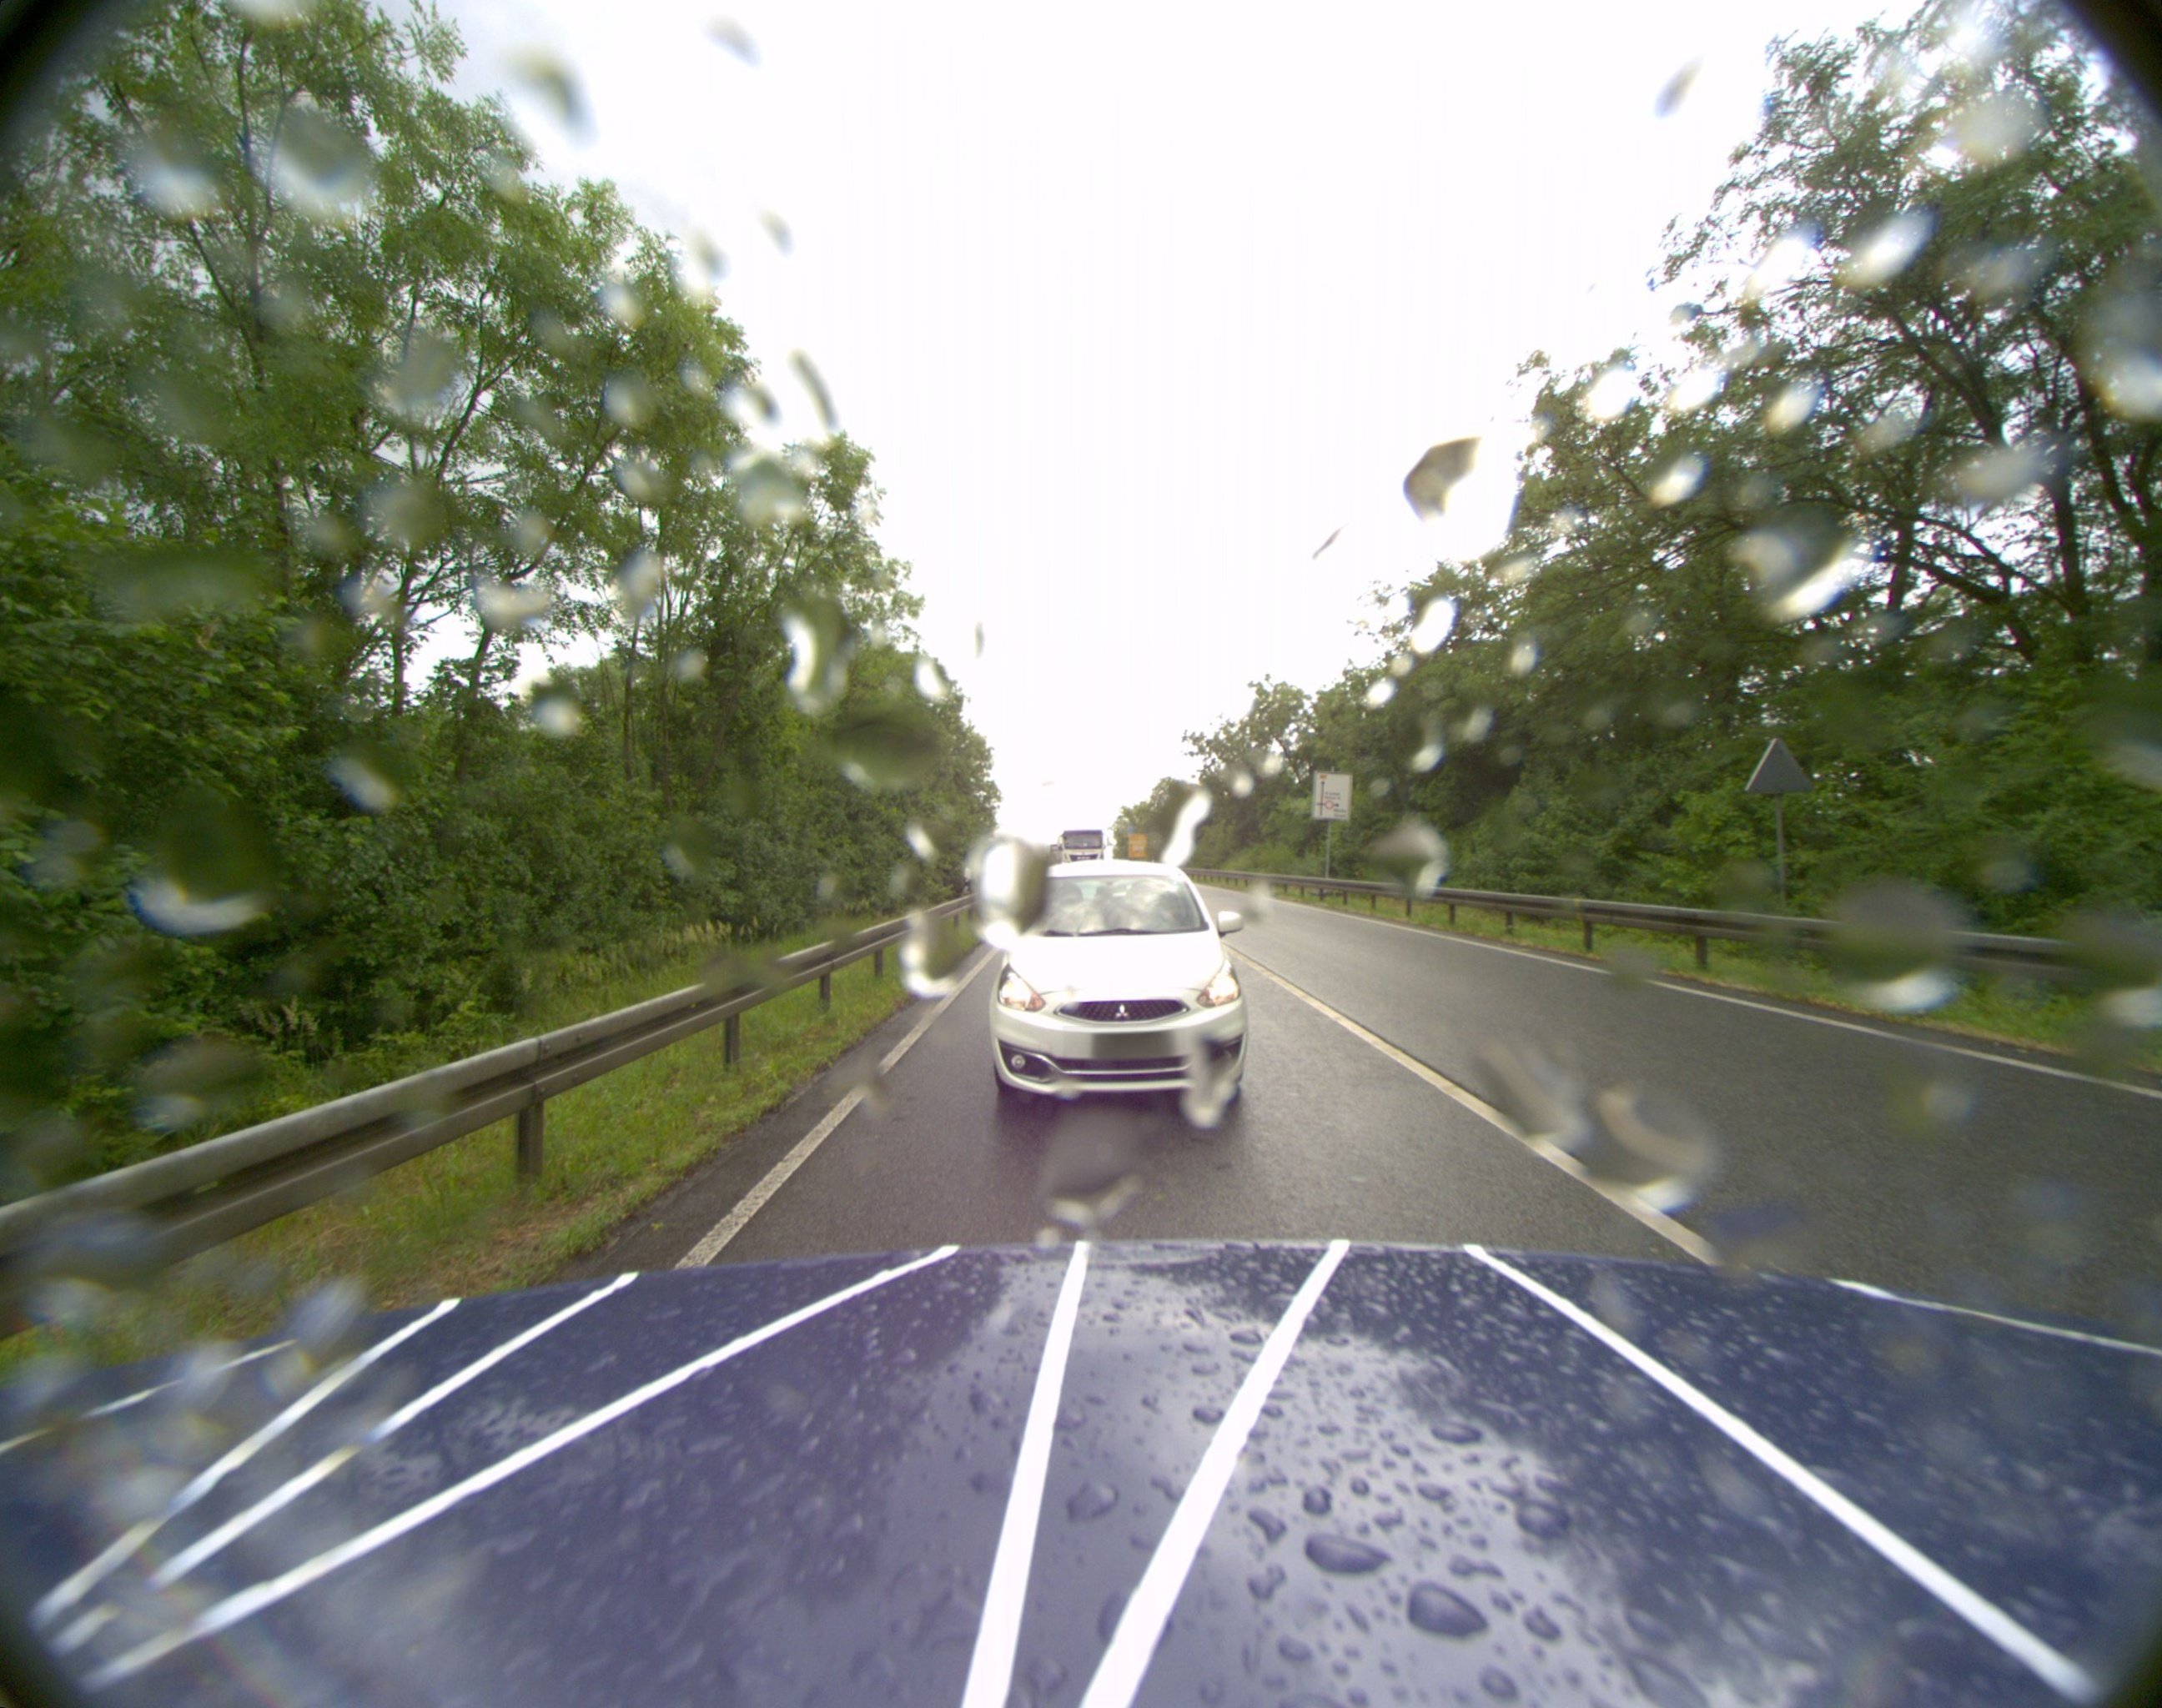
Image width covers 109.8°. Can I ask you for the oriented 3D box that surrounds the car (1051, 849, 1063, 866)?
[{"bbox_3d":[-3.406,0.509,109.948,1.613,2.422,3.999,-2,1,-2],"label":"car"}]

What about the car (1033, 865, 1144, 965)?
[{"bbox_3d":[0.165,0.963,13.798,1.640,1.413,4.492,-2,0,1],"label":"car"}]

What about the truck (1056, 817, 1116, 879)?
[{"bbox_3d":[0.139,-0.393,47.296,3.137,3.364,9.280,-2,1,-3],"label":"truck"}]

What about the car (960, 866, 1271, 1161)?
[{"bbox_3d":[0.172,0.883,6.163,1.610,1.435,4.208,-2,0,-1],"label":"car"}]
